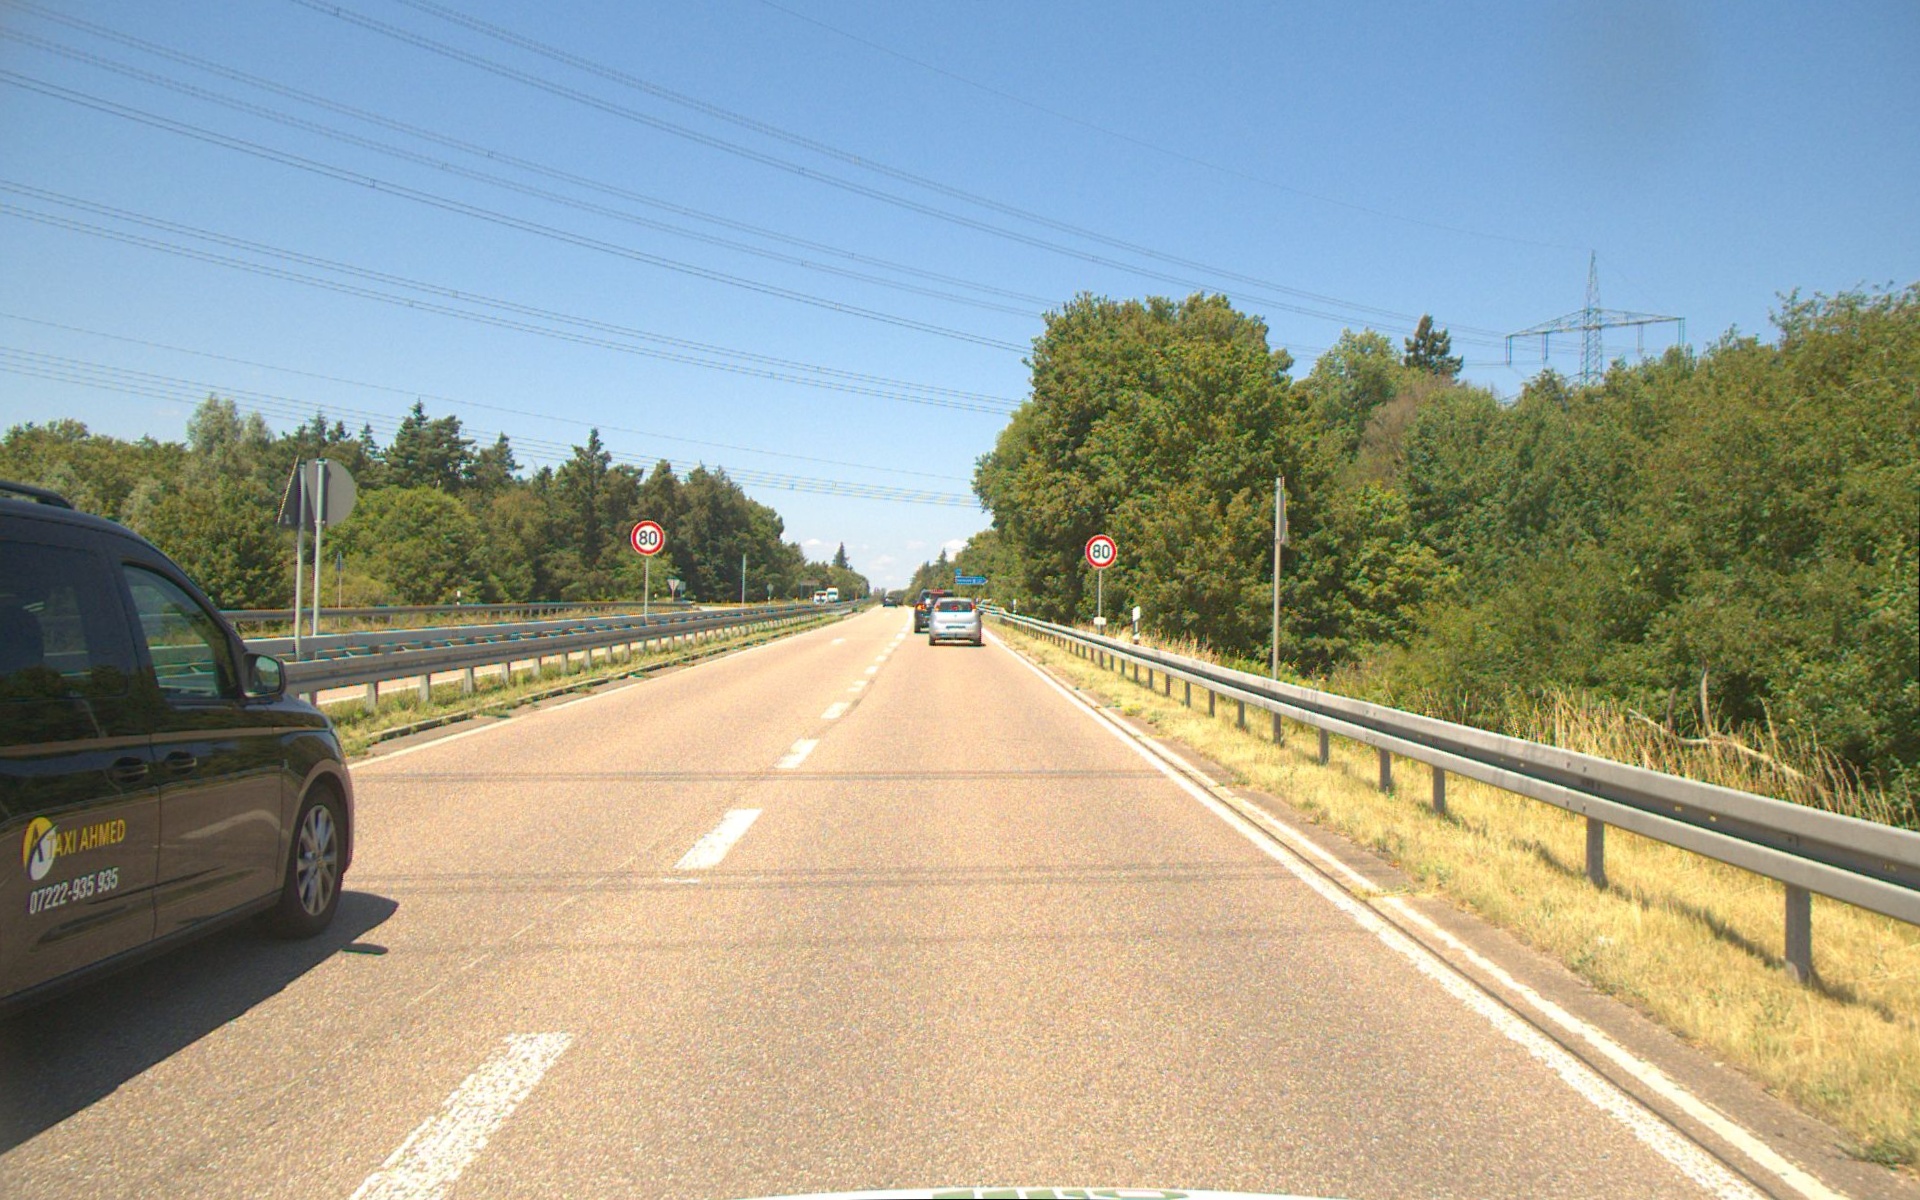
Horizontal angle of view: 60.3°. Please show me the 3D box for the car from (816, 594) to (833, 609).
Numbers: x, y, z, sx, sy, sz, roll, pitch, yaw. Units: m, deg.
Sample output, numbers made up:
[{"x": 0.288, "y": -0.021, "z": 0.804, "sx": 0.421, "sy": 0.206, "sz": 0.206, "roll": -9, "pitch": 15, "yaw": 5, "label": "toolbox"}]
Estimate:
[{"x": -18.606, "y": 0.170, "z": 227.031, "sx": 1.852, "sy": 2.027, "sz": 5.533, "roll": 0, "pitch": 0, "yaw": 1, "label": "car"}]

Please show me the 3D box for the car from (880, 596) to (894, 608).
[{"x": -9.086, "y": 0.248, "z": 206.440, "sx": 1.678, "sy": 1.497, "sz": 3.573, "roll": 3, "pitch": 0, "yaw": -2, "label": "car"}]

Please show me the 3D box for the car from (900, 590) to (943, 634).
[{"x": -1.615, "y": 0.473, "z": 68.312, "sx": 1.608, "sy": 1.682, "sz": 3.571, "roll": 3, "pitch": 0, "yaw": -3, "label": "car"}]

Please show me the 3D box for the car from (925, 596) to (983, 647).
[{"x": -0.218, "y": 0.667, "z": 52.257, "sx": 1.607, "sy": 1.493, "sz": 3.417, "roll": 3, "pitch": 0, "yaw": -3, "label": "car"}]

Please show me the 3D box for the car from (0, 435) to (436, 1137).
[{"x": -3.562, "y": 0.511, "z": 5.762, "sx": 1.817, "sy": 1.920, "sz": 5.571, "roll": 0, "pitch": 0, "yaw": -1, "label": "car"}]
